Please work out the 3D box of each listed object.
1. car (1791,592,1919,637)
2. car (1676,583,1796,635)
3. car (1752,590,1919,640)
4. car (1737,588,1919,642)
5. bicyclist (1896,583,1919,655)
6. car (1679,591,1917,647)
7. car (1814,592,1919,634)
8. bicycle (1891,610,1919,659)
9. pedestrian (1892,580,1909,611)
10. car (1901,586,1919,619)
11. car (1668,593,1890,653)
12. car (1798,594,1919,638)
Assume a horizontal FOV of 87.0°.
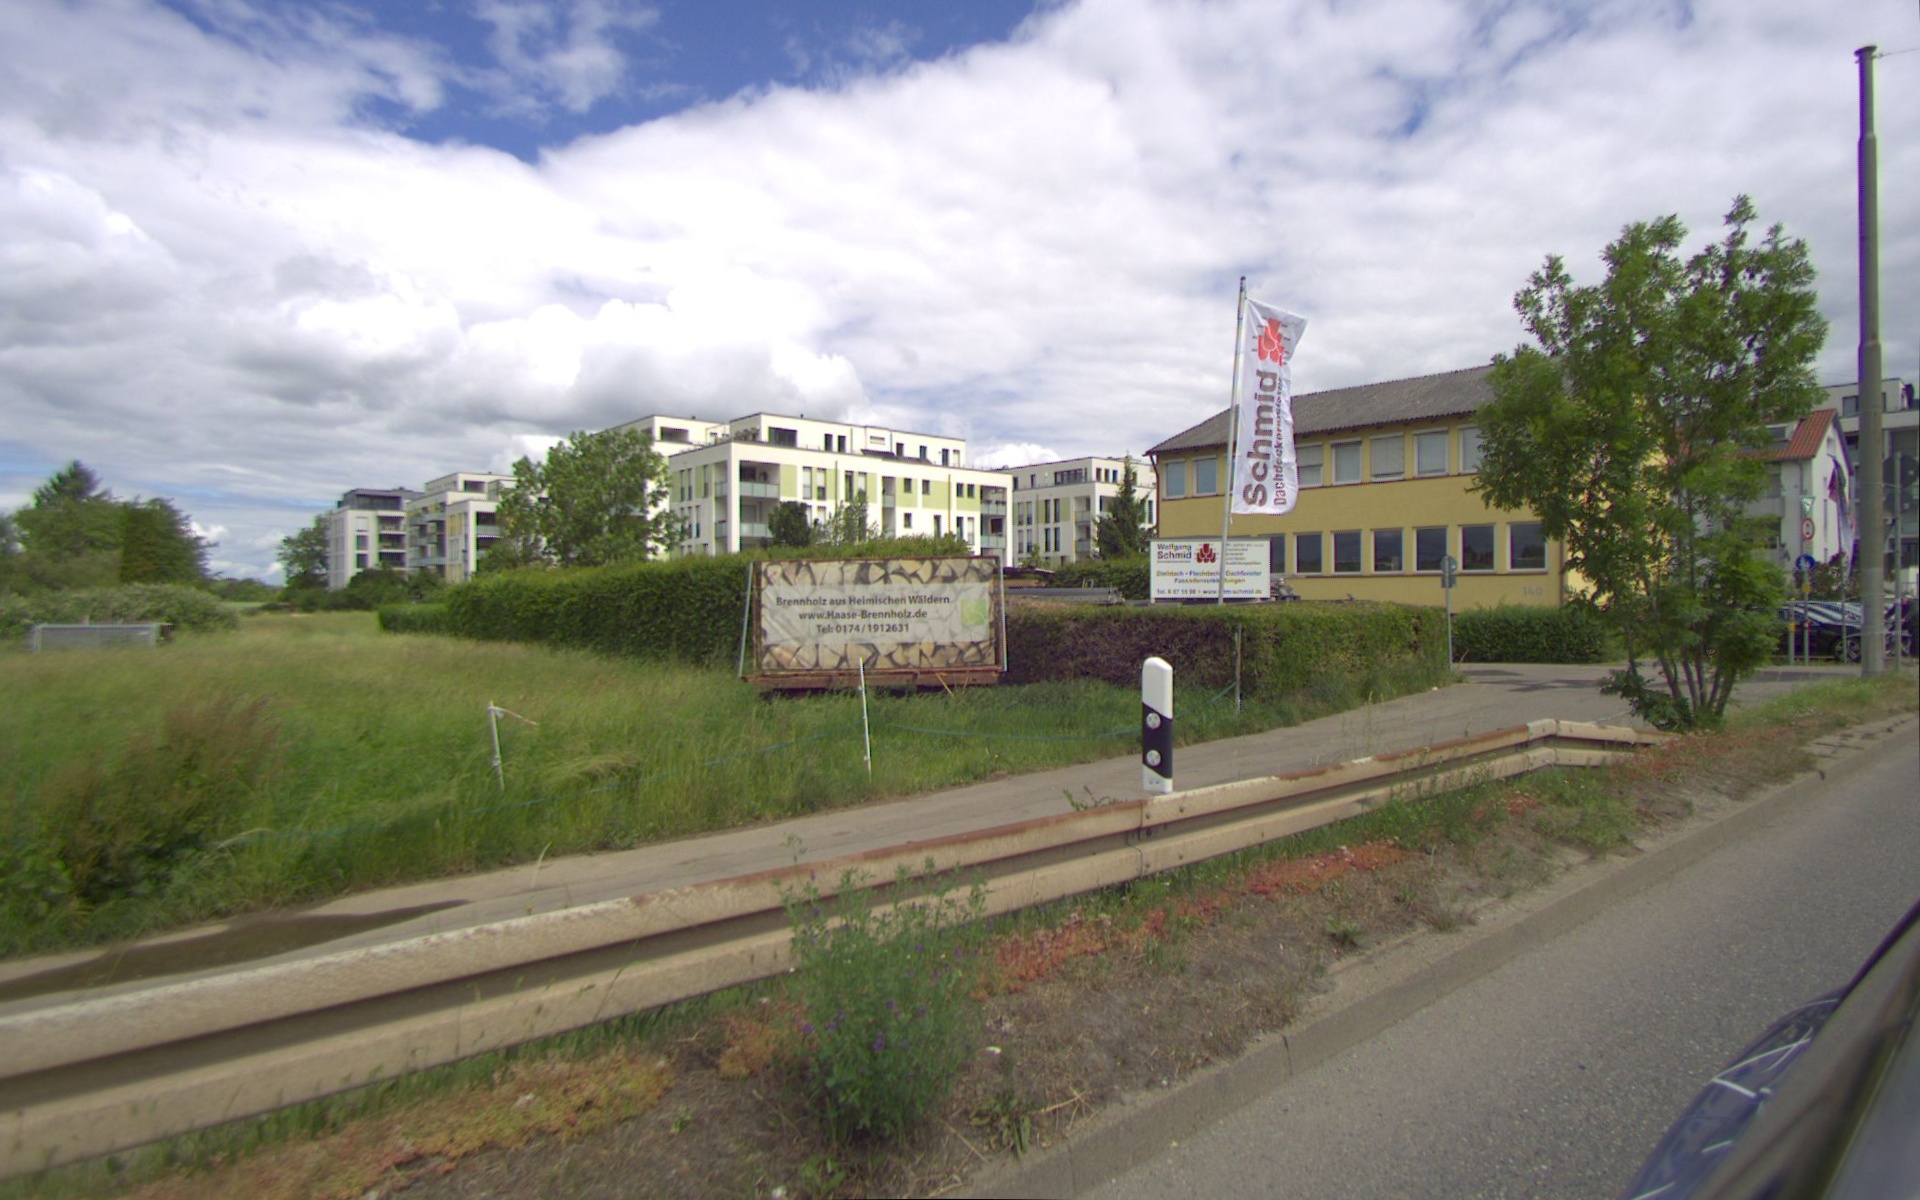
[{"bbox_3d":[30.658,0.499,33.656,1.954,1.422,4.374,0,-2,-41],"label":"car"},{"bbox_3d":[30.206,0.307,39.378,4.930,1.844,1.984,-2,1,-30],"label":"car"},{"bbox_3d":[28.365,0.487,32.040,1.995,1.499,4.810,0,-2,-38],"label":"car"},{"bbox_3d":[26.393,0.475,30.235,1.979,1.513,4.686,0,-2,-38],"label":"car"},{"bbox_3d":[22.975,0.449,24.239,0.874,1.696,0.639,0,3,-40],"label":"bicyclist"},{"bbox_3d":[23.560,0.570,28.633,2.001,1.449,4.861,0,-2,-39],"label":"car"},{"bbox_3d":[34.844,0.479,37.450,2.009,1.512,4.704,0,-1,-40],"label":"car"},{"bbox_3d":[22.965,0.823,24.265,1.942,1.076,0.639,0,3,-40],"label":"bicycle"},{"bbox_3d":[54.628,-0.248,58.791,0.490,1.788,0.509,-2,-1,-23],"label":"pedestrian"},{"bbox_3d":[47.196,0.132,49.056,4.443,1.564,1.878,0,0,-41],"label":"car"},{"bbox_3d":[21.890,0.641,27.184,1.970,1.416,4.326,-2,0,-41],"label":"car"},{"bbox_3d":[32.703,0.542,35.605,1.999,1.512,4.668,0,-1,-40],"label":"car"}]
